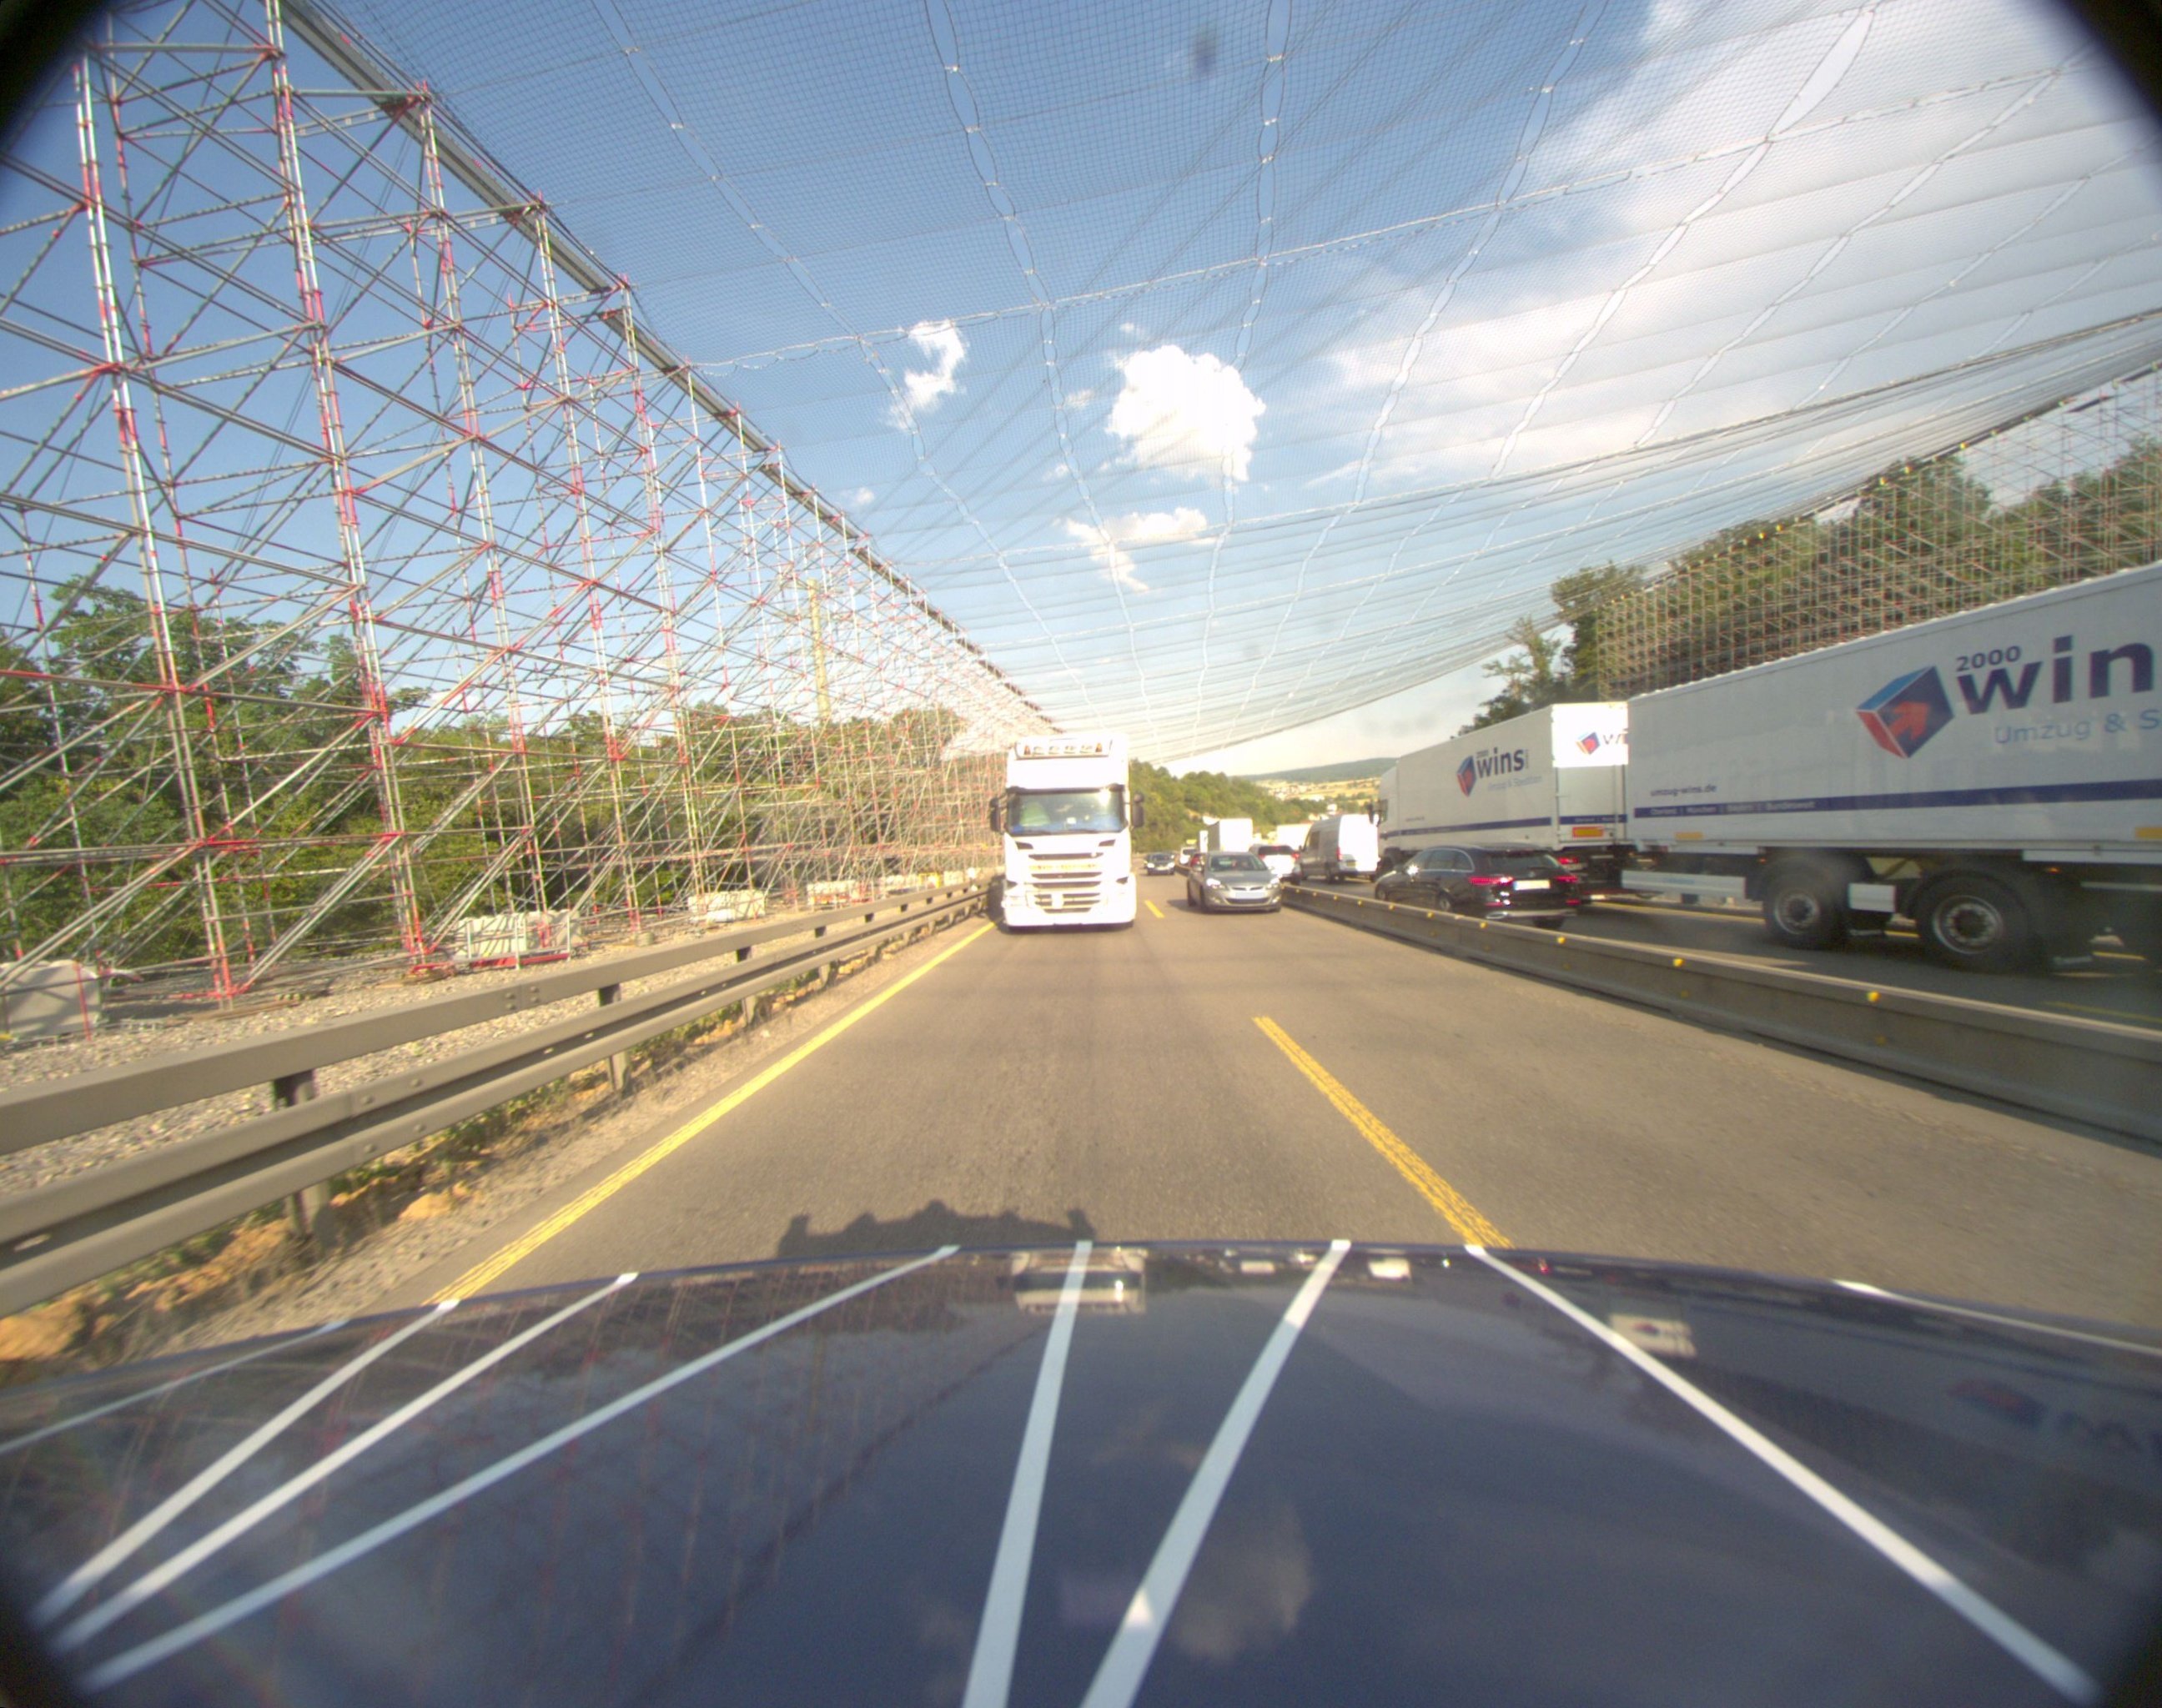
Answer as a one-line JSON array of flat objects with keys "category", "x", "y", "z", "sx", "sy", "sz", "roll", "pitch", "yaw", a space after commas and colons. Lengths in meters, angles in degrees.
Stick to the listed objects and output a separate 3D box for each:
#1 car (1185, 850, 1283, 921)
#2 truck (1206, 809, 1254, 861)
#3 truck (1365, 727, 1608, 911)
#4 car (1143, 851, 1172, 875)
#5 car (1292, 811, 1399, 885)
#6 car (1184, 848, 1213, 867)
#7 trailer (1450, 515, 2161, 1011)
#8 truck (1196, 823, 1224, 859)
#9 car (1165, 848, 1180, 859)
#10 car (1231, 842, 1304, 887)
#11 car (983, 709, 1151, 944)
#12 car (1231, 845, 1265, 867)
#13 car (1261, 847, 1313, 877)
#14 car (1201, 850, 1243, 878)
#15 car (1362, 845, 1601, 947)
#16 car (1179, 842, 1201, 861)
[{"category": "car", "x": 3.600, "y": 0.673, "z": 18.562, "sx": 1.759, "sy": 1.464, "sz": 4.354, "roll": -2, "pitch": 1, "yaw": 4}, {"category": "truck", "x": 13.395, "y": -1.633, "z": 69.559, "sx": 2.727, "sy": 4.202, "sz": 14.172, "roll": -2, "pitch": 1, "yaw": 5}, {"category": "truck", "x": 10.144, "y": -0.782, "z": 20.077, "sx": 2.637, "sy": 3.887, "sz": 7.204, "roll": -2, "pitch": 1, "yaw": 1}, {"category": "car", "x": 4.946, "y": 0.554, "z": 49.104, "sx": 1.764, "sy": 1.376, "sz": 3.824, "roll": -2, "pitch": 1, "yaw": 6}, {"category": "car", "x": 10.868, "y": -0.257, "z": 31.970, "sx": 2.246, "sy": 2.697, "sz": 7.082, "roll": -2, "pitch": 1, "yaw": 2}, {"category": "car", "x": 9.280, "y": 0.264, "z": 60.381, "sx": 1.812, "sy": 1.411, "sz": 4.519, "roll": -2, "pitch": 1, "yaw": 3}, {"category": "trailer", "x": 10.087, "y": -0.812, "z": 11.312, "sx": 2.676, "sy": 3.992, "sz": 13.332, "roll": -2, "pitch": 1, "yaw": 0}, {"category": "truck", "x": 17.650, "y": -1.727, "z": 104.824, "sx": 2.993, "sy": 4.532, "sz": 17.414, "roll": -2, "pitch": 1, "yaw": 7}, {"category": "car", "x": 13.309, "y": -0.103, "z": 110.196, "sx": 1.939, "sy": 1.525, "sz": 4.646, "roll": -2, "pitch": 1, "yaw": 5}, {"category": "car", "x": 7.137, "y": 0.376, "z": 29.489, "sx": 1.812, "sy": 1.559, "sz": 4.365, "roll": -2, "pitch": 1, "yaw": 1}, {"category": "car", "x": -0.171, "y": -0.520, "z": 17.707, "sx": 2.858, "sy": 4.092, "sz": 8.280, "roll": -2, "pitch": 1, "yaw": 1}, {"category": "car", "x": 12.735, "y": 0.139, "z": 58.247, "sx": 1.796, "sy": 1.531, "sz": 4.910, "roll": -2, "pitch": 1, "yaw": 4}, {"category": "car", "x": 10.826, "y": 0.395, "z": 40.173, "sx": 1.796, "sy": 1.429, "sz": 4.381, "roll": -2, "pitch": 1, "yaw": 4}, {"category": "car", "x": 8.647, "y": 0.597, "z": 47.069, "sx": 1.812, "sy": 1.559, "sz": 4.365, "roll": -2, "pitch": 1, "yaw": 1}, {"category": "car", "x": 6.785, "y": 0.597, "z": 13.555, "sx": 1.782, "sy": 1.442, "sz": 4.663, "roll": -2, "pitch": 1, "yaw": 0}, {"category": "car", "x": 11.249, "y": -0.269, "z": 78.930, "sx": 1.812, "sy": 1.858, "sz": 5.282, "roll": -2, "pitch": 1, "yaw": 4}]
